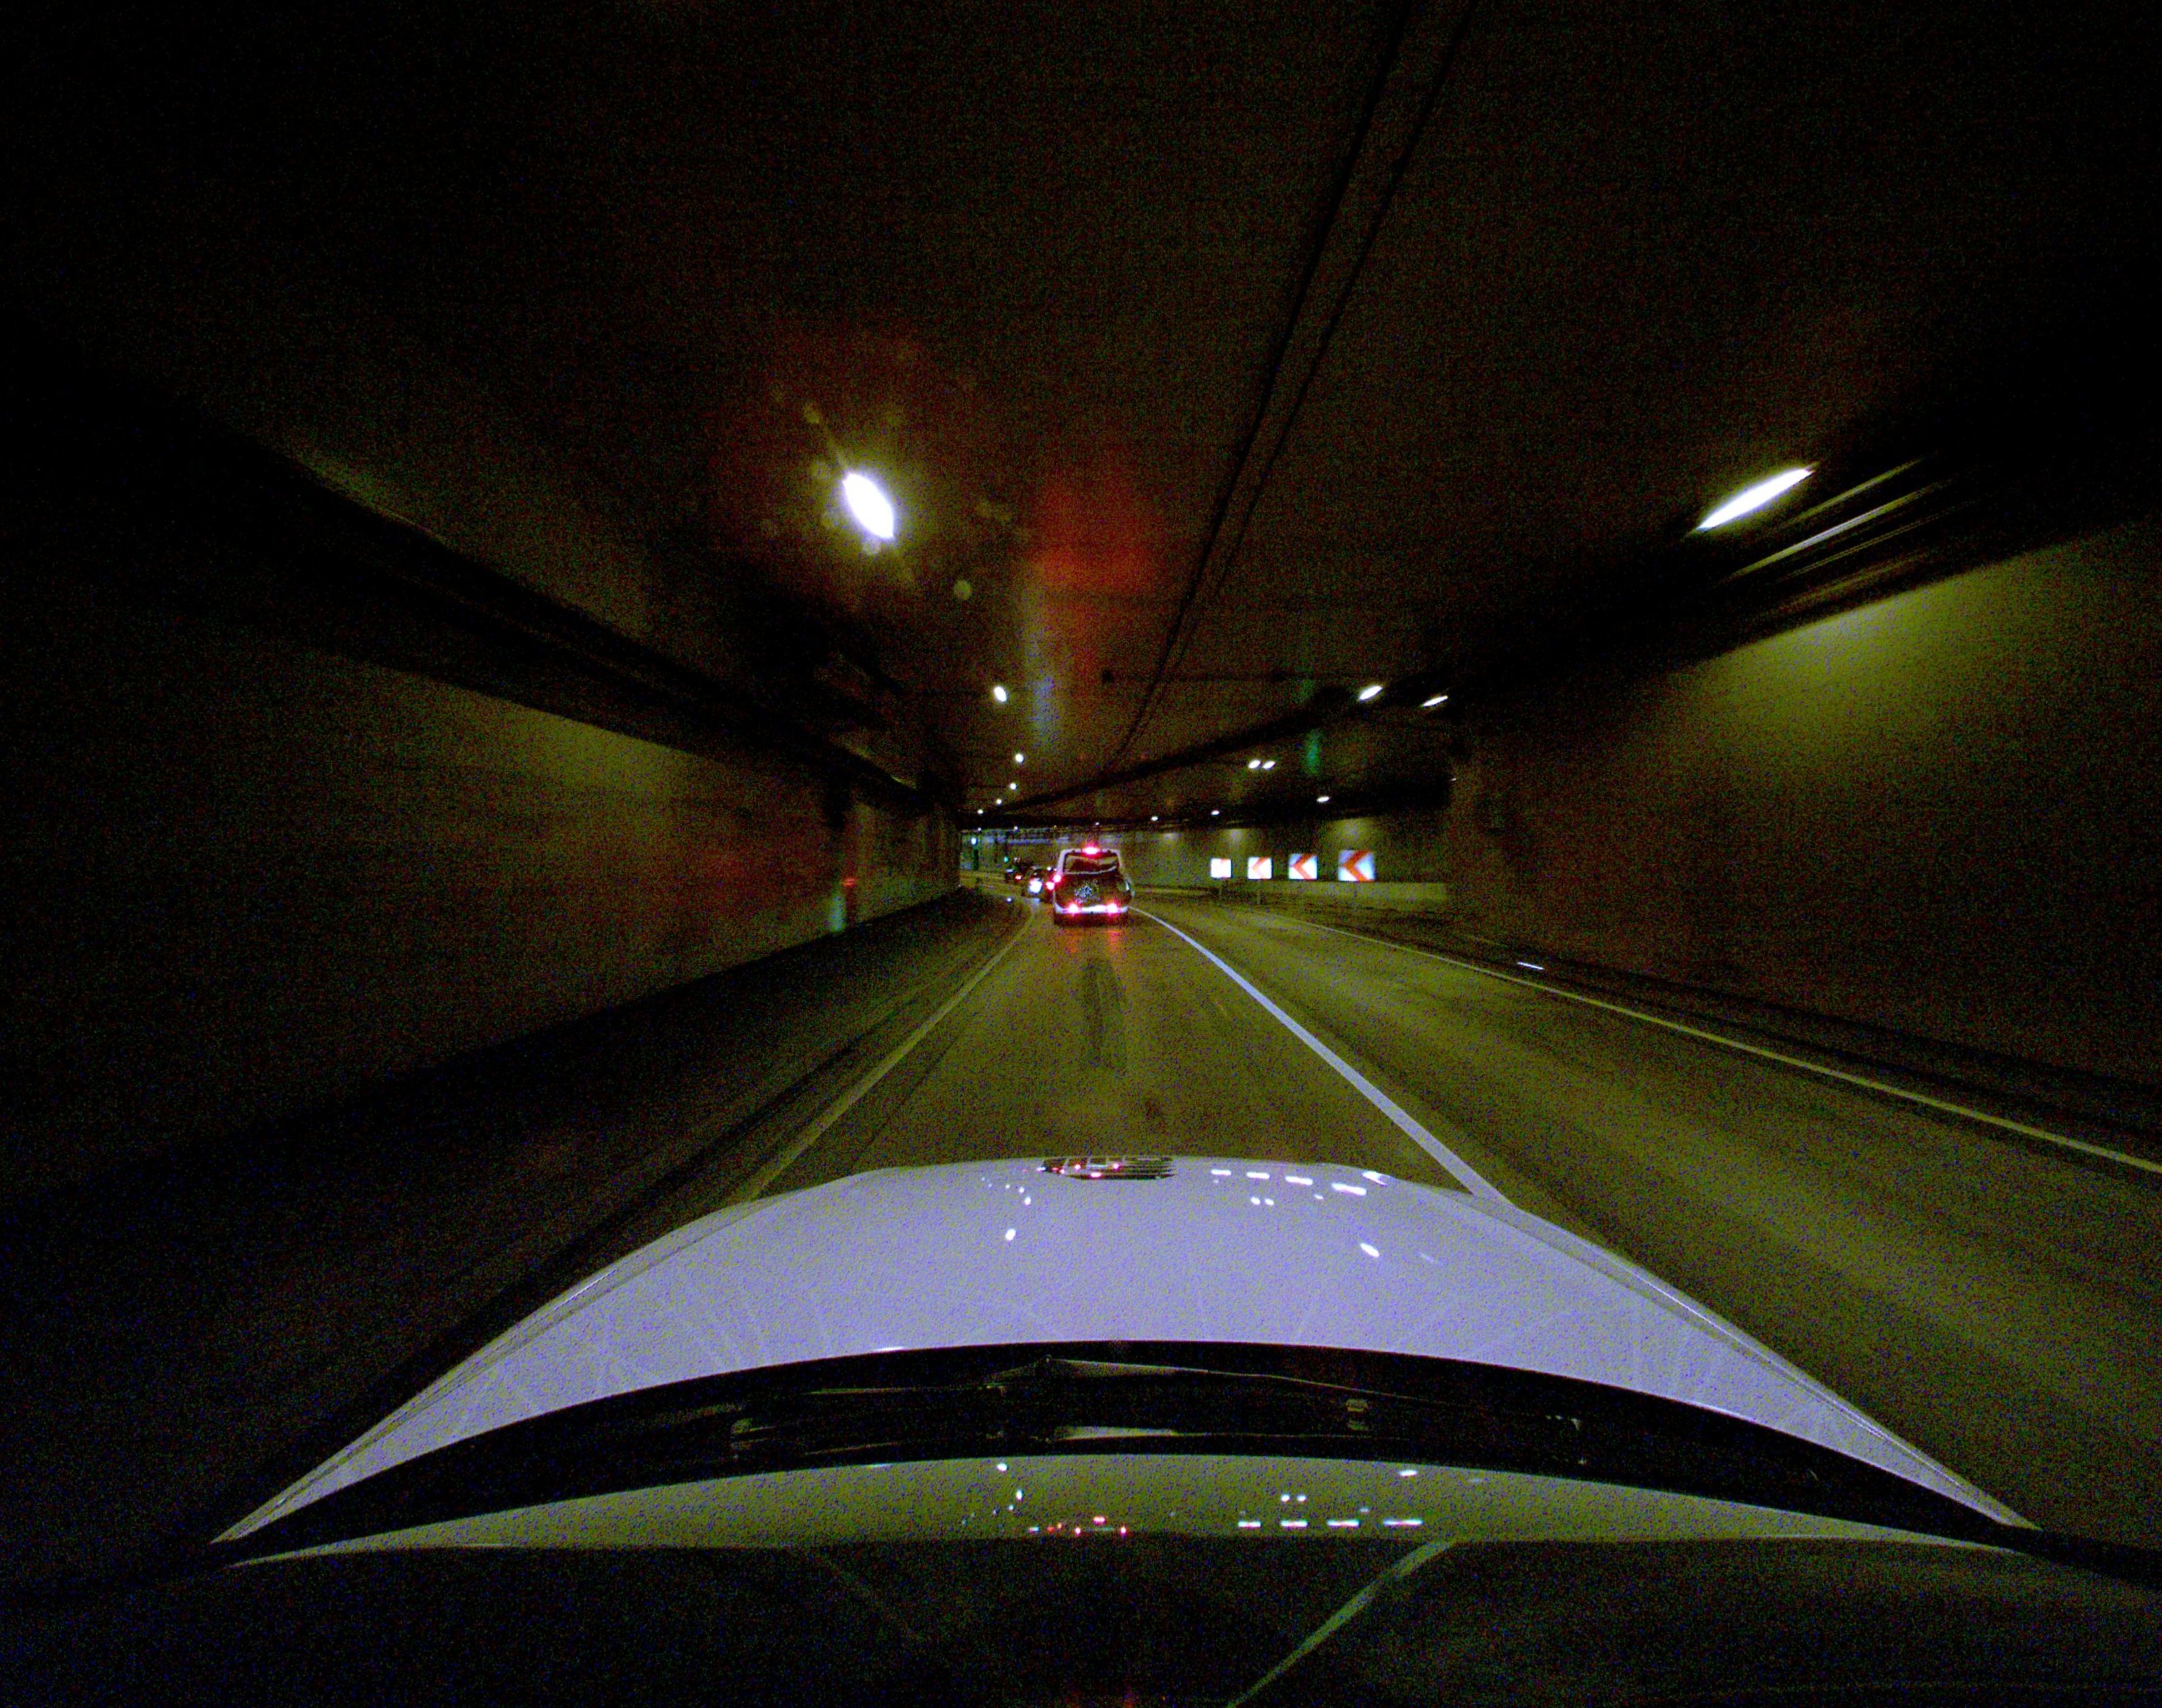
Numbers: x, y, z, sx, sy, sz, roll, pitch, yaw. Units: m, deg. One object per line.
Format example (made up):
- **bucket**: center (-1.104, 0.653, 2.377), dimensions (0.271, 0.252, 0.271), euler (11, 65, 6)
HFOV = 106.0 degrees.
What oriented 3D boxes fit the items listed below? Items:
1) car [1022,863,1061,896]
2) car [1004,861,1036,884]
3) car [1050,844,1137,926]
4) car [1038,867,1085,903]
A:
- **car**: center (-2.050, 1.305, 41.175), dimensions (1.602, 1.594, 3.344), euler (1, -3, -9)
- **car**: center (-4.701, 1.372, 62.612), dimensions (1.608, 1.630, 3.334), euler (-3, 0, -19)
- **car**: center (0.194, 0.764, 21.386), dimensions (1.988, 1.847, 5.296), euler (-1, -1, -2)
- **car**: center (-0.844, 1.239, 33.246), dimensions (1.601, 1.395, 3.268), euler (0, -1, -7)
